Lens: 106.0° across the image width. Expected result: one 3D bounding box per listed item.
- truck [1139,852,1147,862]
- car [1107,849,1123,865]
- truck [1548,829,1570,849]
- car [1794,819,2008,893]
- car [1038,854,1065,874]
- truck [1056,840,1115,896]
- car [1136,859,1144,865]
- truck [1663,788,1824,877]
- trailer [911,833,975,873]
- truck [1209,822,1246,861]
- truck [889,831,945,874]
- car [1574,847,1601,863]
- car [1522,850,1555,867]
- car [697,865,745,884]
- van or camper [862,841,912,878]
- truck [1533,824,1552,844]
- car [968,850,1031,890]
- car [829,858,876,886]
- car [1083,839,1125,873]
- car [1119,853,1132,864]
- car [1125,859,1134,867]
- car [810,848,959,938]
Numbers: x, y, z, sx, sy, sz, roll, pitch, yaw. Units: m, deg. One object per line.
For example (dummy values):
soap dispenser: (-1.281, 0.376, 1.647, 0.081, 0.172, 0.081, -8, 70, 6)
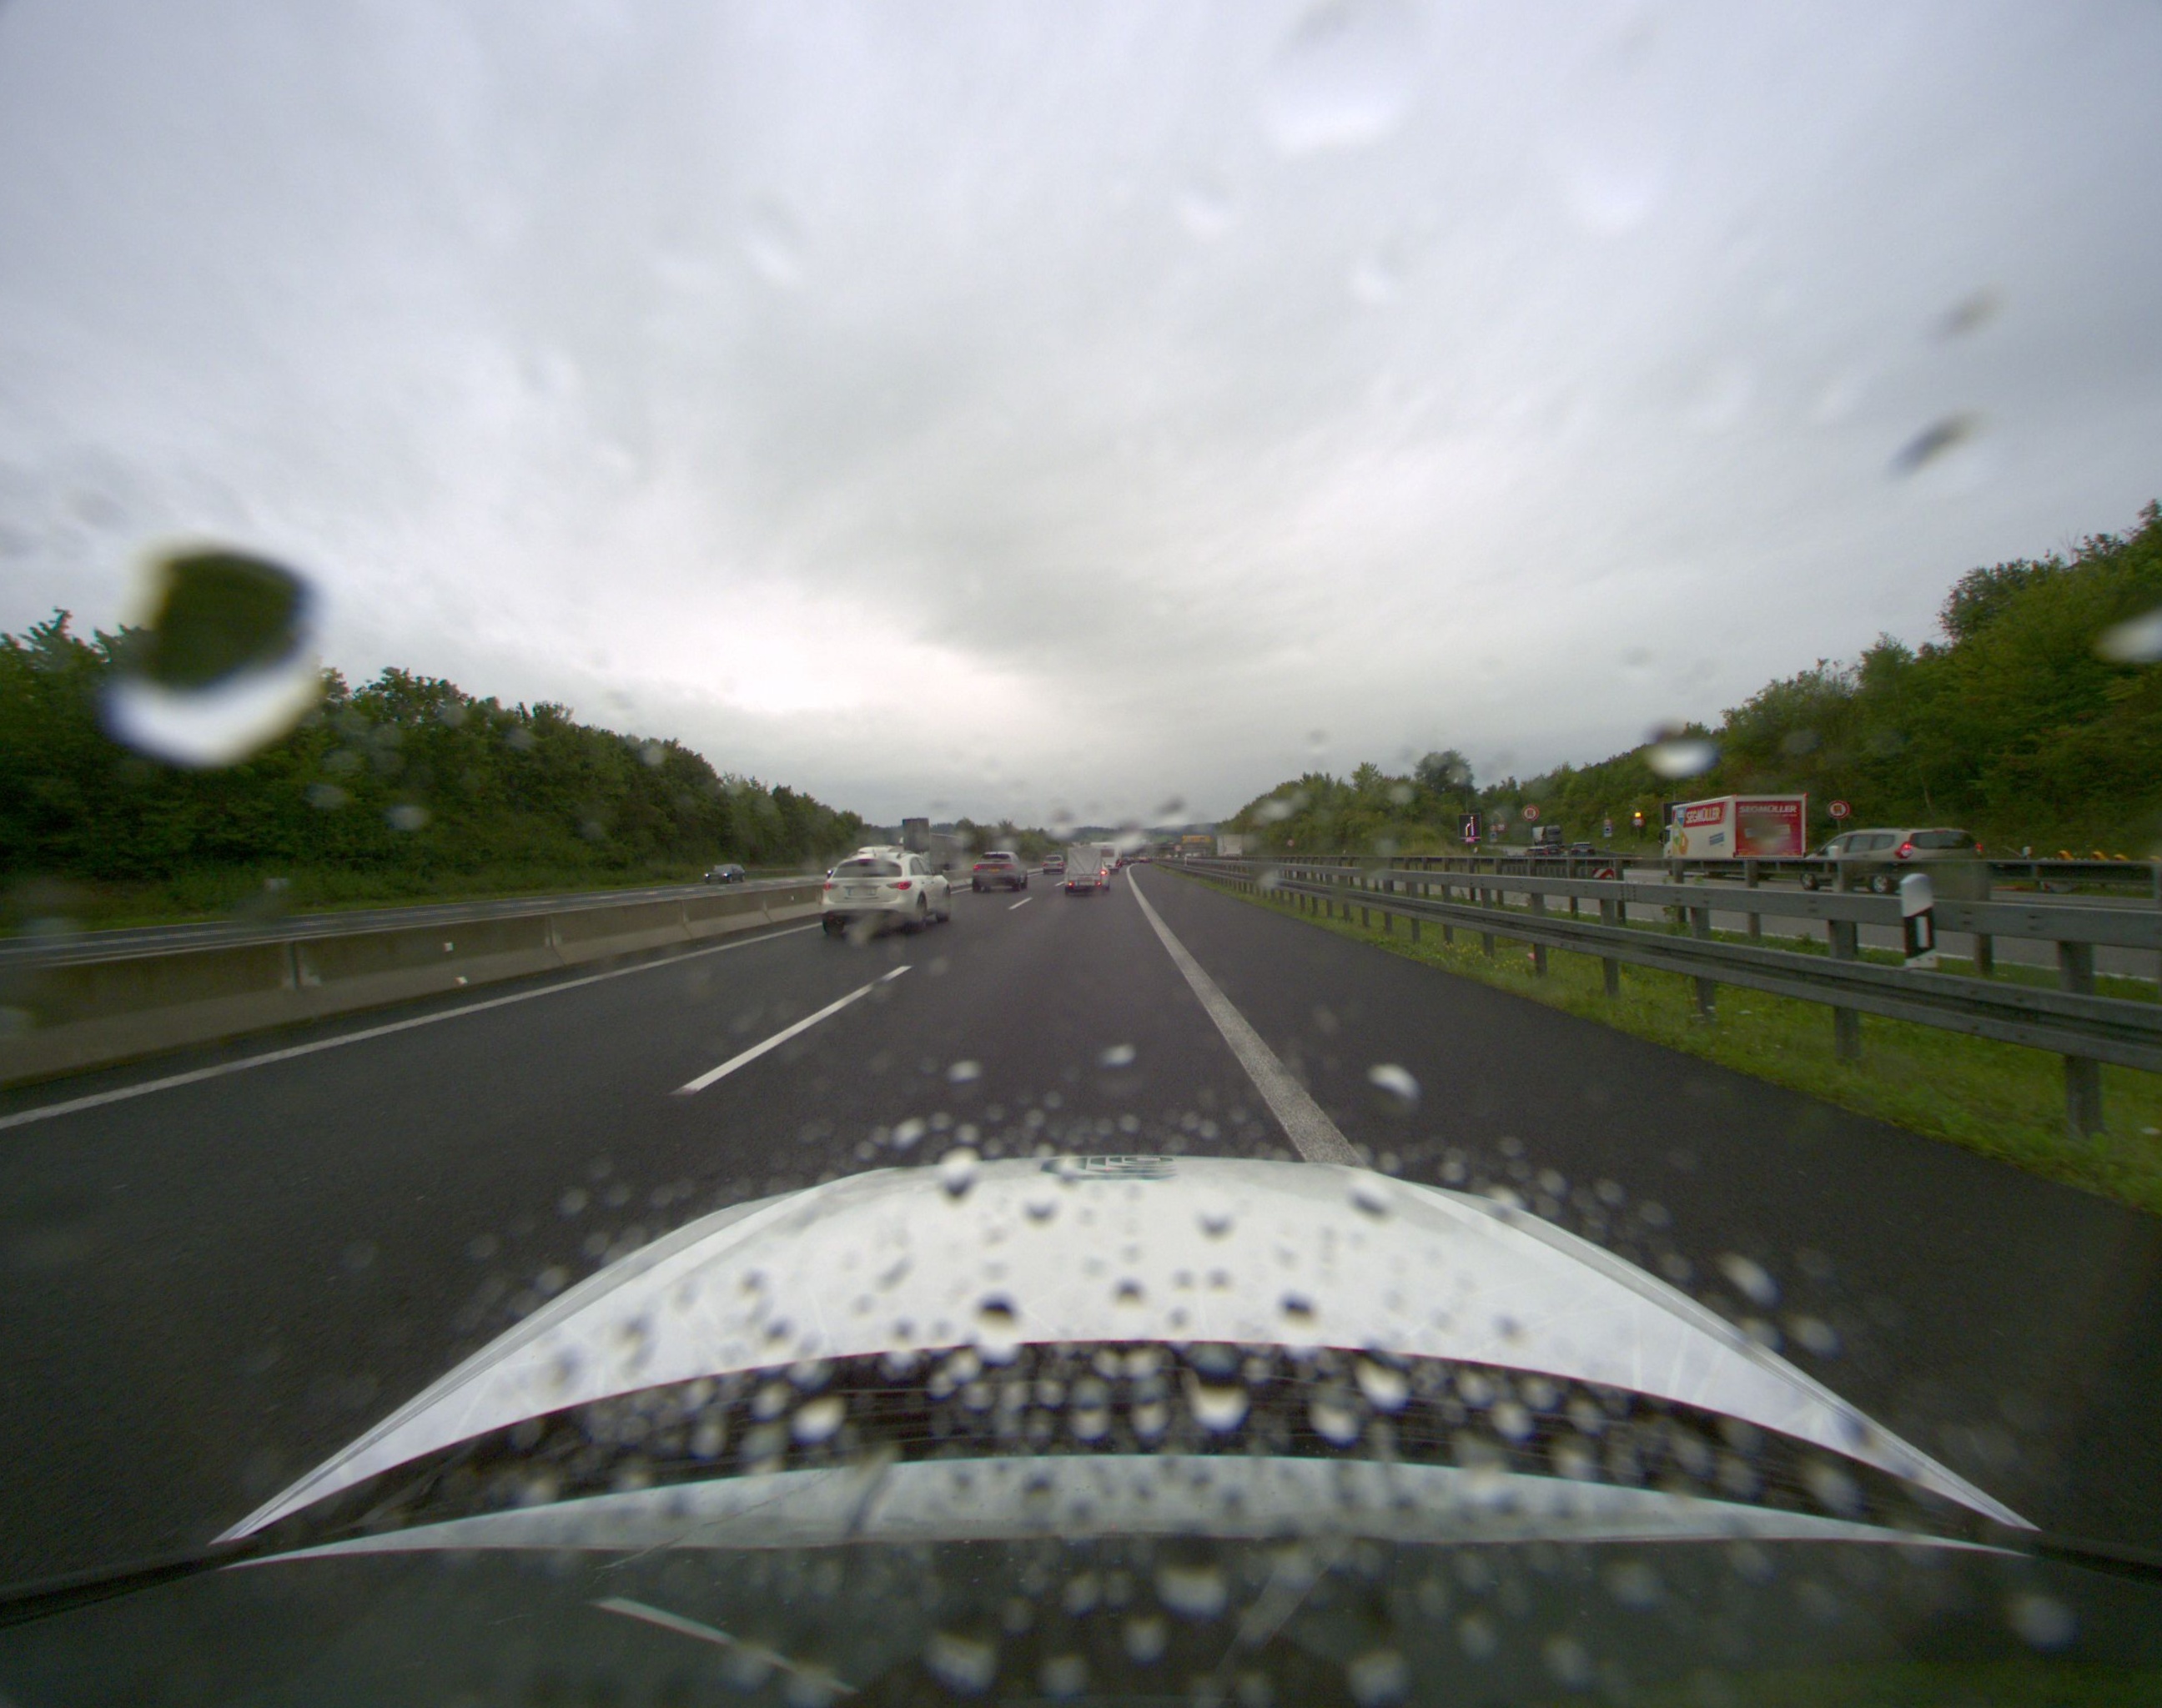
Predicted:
truck: (19.912, 0.985, 259.331, 2.266, 3.082, 7.258, 0, -1, 6)
car: (4.478, 0.384, 106.534, 1.986, 2.036, 4.153, 0, -1, 1)
truck: (65.875, -2.077, 112.120, 2.416, 2.704, 5.604, -2, 0, 32)
car: (20.693, 0.062, 20.869, 1.846, 1.659, 4.491, -2, 0, 15)
car: (-2.510, 0.799, 69.722, 1.893, 1.613, 4.020, -1, 0, 3)
truck: (0.311, 0.506, 33.353, 2.010, 1.985, 7.219, -1, 0, 3)
car: (16.777, 2.363, 232.237, 1.983, 1.750, 4.007, 0, -1, 6)
truck: (29.040, -0.840, 36.264, 2.874, 3.395, 9.022, -1, 0, 21)
trailer: (-15.311, -0.144, 91.884, 3.243, 4.083, 13.871, -1, 0, 7)
truck: (20.466, -1.741, 114.605, 4.074, 5.103, 10.478, -1, 0, 5)
truck: (-16.421, -0.120, 82.206, 3.243, 4.083, 7.455, -1, 0, 7)
car: (46.951, 0.103, 75.551, 1.842, 1.447, 4.183, -2, 0, 29)
car: (39.964, 0.372, 71.225, 1.844, 1.447, 4.179, -2, 0, 20)
car: (-26.648, 1.515, 60.464, 1.682, 1.294, 3.925, -1, 0, 2)
van or camper: (-13.758, 0.350, 58.033, 1.787, 2.470, 5.555, -1, 0, 5)
truck: (69.005, -2.995, 121.828, 2.223, 2.878, 8.225, -1, 0, 31)
car: (-3.538, 0.687, 36.218, 2.166, 1.631, 4.502, -1, 0, 1)
car: (-14.272, 1.116, 51.087, 1.522, 1.620, 4.389, -1, 0, 1)
car: (1.981, 0.147, 67.313, 3.001, 2.616, 6.084, -1, 0, 6)
car: (7.347, 0.736, 133.417, 1.984, 1.750, 4.006, 0, -1, 5)
car: (11.255, 2.043, 189.860, 1.984, 1.750, 4.006, 0, -1, 5)
car: (-4.035, 0.747, 17.538, 1.969, 1.639, 4.502, -1, 0, 1)
